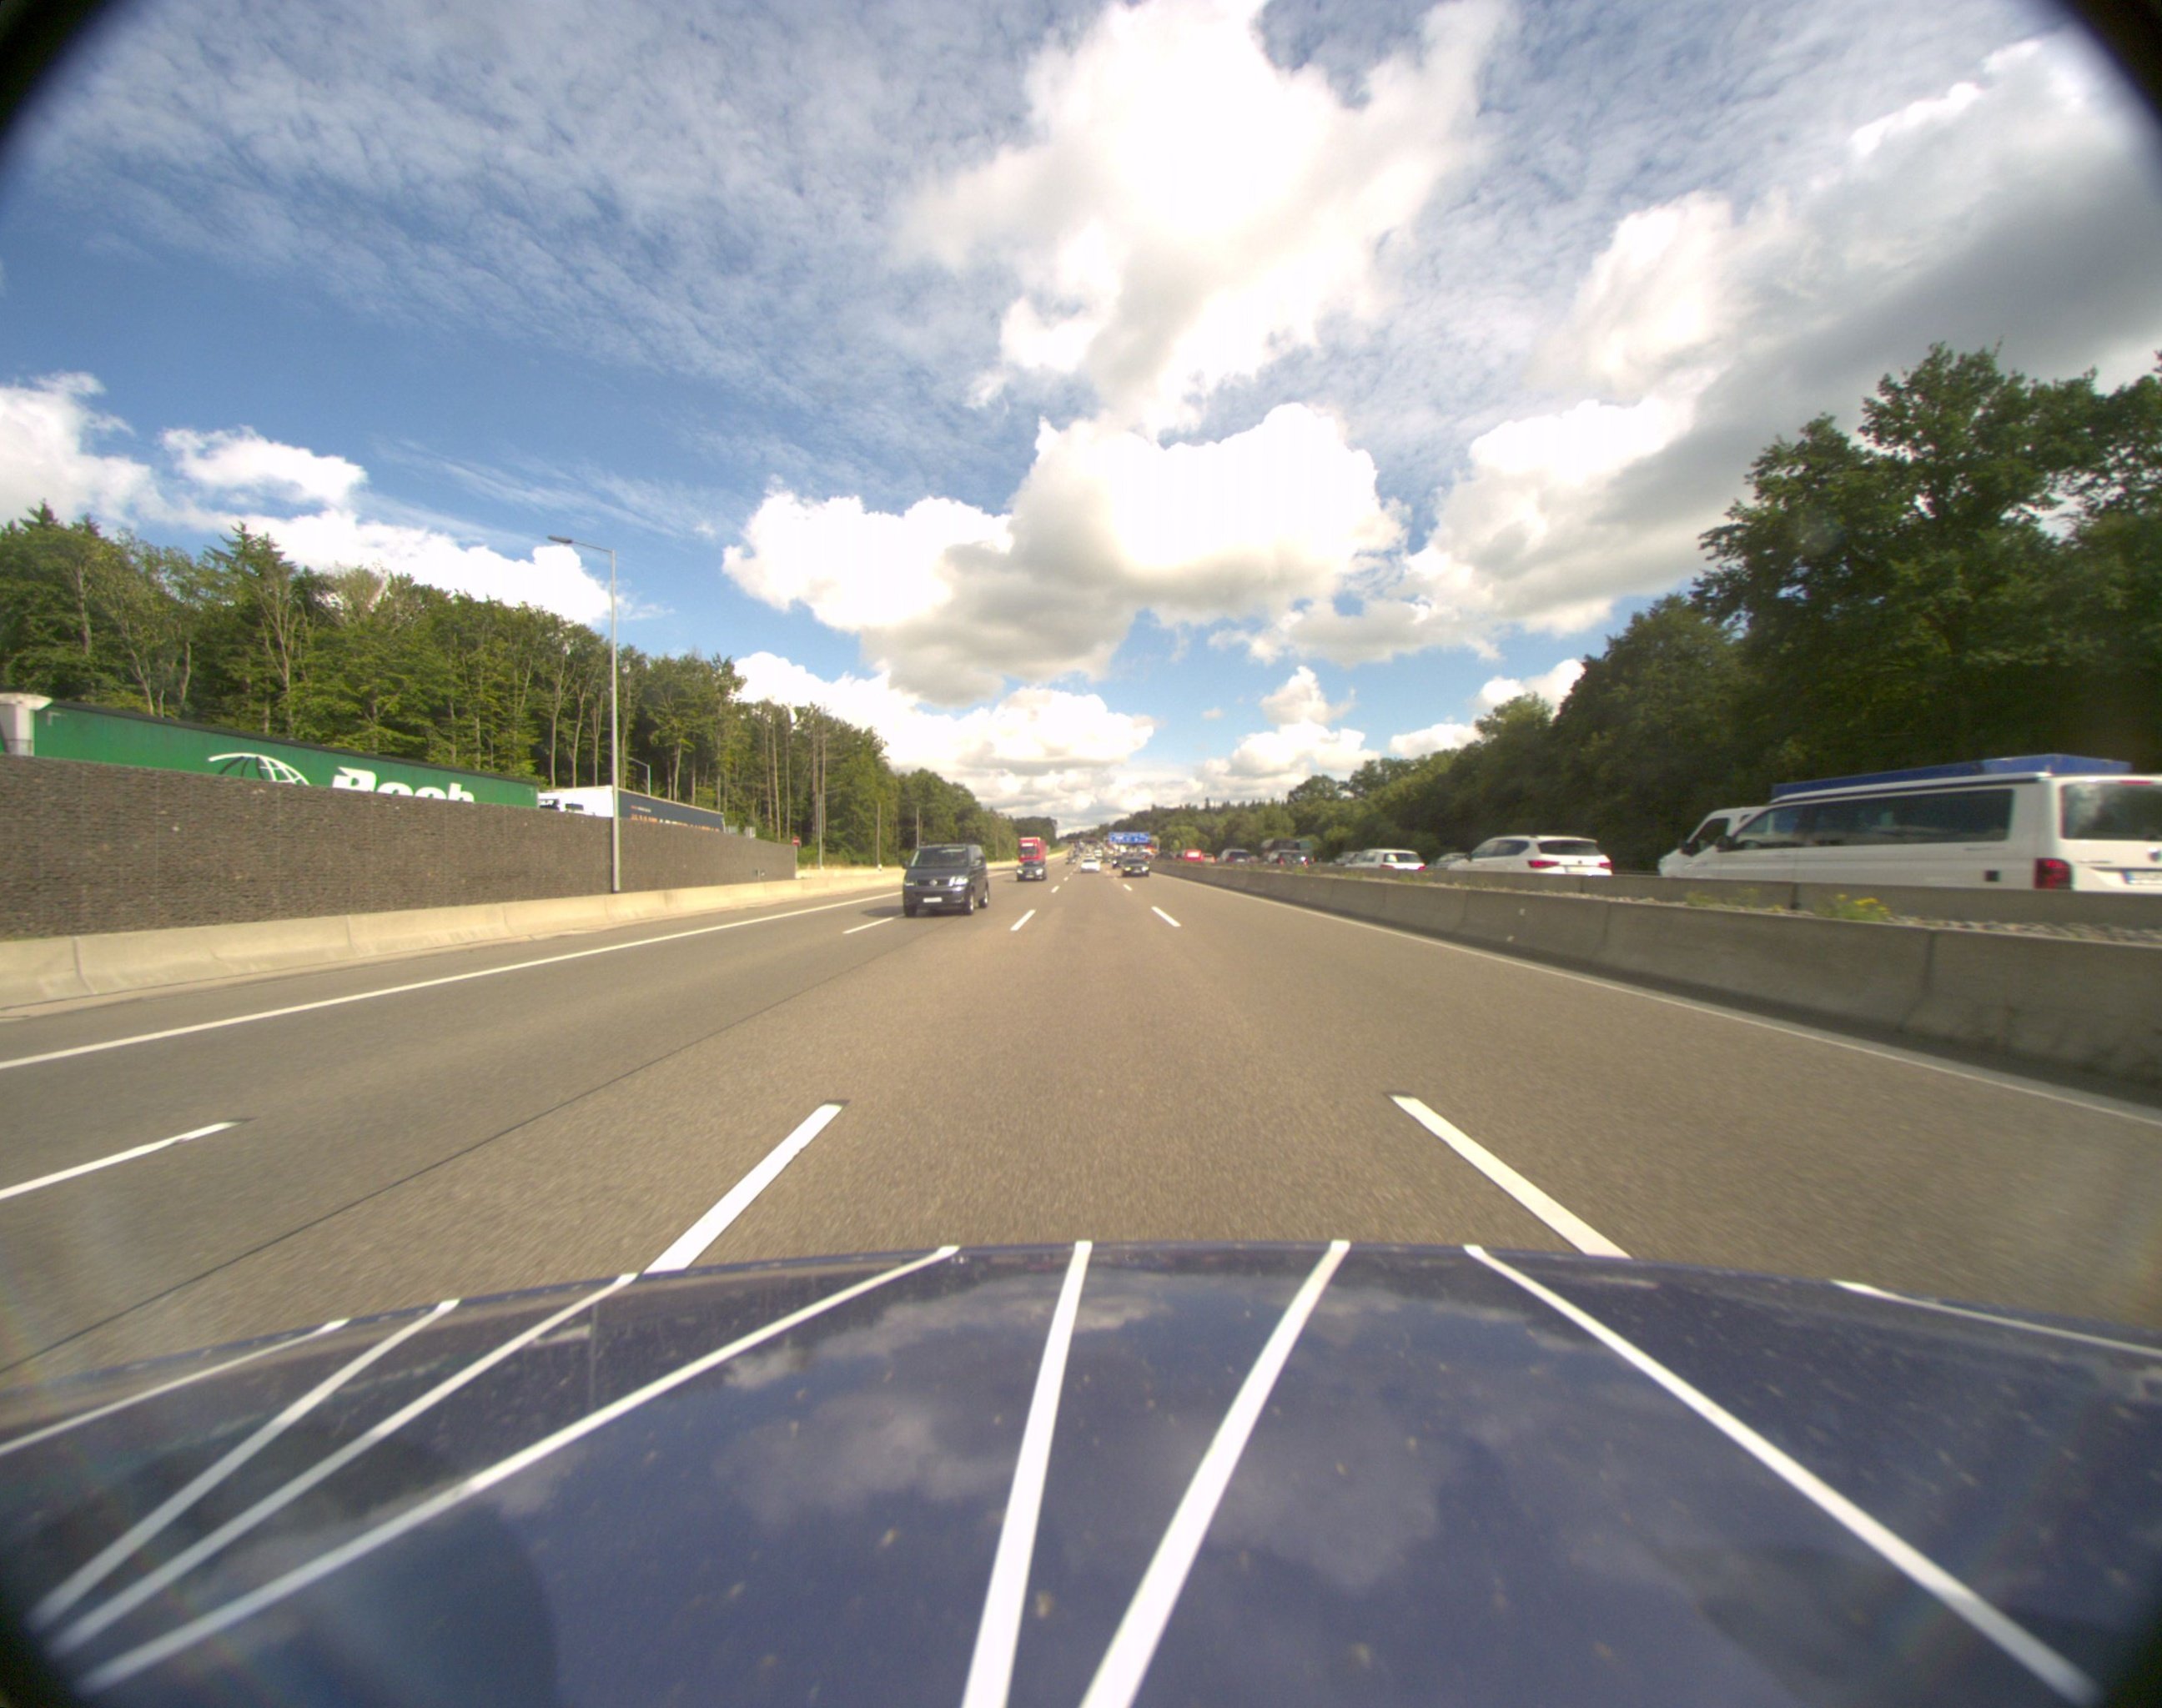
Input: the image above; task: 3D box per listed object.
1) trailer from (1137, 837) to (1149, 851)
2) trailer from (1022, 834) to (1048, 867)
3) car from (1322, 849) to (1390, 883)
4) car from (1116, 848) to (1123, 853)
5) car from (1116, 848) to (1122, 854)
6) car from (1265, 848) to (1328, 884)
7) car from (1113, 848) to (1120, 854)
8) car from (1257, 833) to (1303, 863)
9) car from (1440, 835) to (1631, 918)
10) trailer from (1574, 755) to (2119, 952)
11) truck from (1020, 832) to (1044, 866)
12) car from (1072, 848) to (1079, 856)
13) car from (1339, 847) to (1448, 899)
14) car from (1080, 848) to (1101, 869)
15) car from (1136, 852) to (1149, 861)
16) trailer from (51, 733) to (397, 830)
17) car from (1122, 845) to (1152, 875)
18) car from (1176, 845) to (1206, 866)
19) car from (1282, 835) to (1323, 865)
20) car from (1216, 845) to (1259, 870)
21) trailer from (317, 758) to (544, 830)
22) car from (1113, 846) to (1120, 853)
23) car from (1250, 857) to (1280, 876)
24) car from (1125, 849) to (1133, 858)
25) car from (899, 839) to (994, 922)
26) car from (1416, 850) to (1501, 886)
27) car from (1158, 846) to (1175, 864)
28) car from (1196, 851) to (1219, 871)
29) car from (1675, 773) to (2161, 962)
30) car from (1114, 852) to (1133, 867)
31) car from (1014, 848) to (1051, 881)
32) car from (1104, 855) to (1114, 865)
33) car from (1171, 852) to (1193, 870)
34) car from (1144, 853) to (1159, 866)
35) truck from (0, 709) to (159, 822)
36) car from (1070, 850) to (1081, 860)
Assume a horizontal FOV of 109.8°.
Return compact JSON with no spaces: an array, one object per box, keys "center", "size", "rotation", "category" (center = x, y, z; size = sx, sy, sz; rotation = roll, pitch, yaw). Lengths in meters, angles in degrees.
[{"center":[20.466,-3.363,251.609],"size":[2.778,4.211,13.654],"rotation":[-2,2,0],"category":"trailer"},{"center":[-6.196,-0.648,104.260],"size":[2.531,4.096,14.372],"rotation":[-2,2,0],"category":"trailer"},{"center":[14.007,0.562,38.973],"size":[1.998,1.563,4.357],"rotation":[-2,0,2],"category":"car"},{"center":[12.628,-1.070,249.661],"size":[1.761,1.369,4.000],"rotation":[-2,0,0],"category":"car"},{"center":[12.345,-0.850,247.049],"size":[1.691,1.806,4.294],"rotation":[-2,2,0],"category":"car"},{"center":[10.149,0.537,36.033],"size":[1.998,1.563,3.511],"rotation":[-2,0,2],"category":"car"},{"center":[12.167,-1.068,261.793],"size":[1.998,1.733,4.294],"rotation":[-3,1,0],"category":"car"},{"center":[14.481,-0.449,55.650],"size":[1.998,2.020,5.846],"rotation":[-2,0,2],"category":"car"},{"center":[9.991,0.434,17.165],"size":[1.770,1.563,4.357],"rotation":[-2,0,2],"category":"car"},{"center":[13.895,-0.051,15.298],"size":[2.284,2.770,8.540],"rotation":[-2,1,0],"category":"trailer"},{"center":[-6.215,-0.634,97.071],"size":[2.532,4.179,4.652],"rotation":[-2,2,0],"category":"truck"},{"center":[-1.415,-0.516,203.236],"size":[1.804,1.865,3.950],"rotation":[-1,1,1],"category":"car"},{"center":[10.595,0.600,26.123],"size":[1.998,1.563,4.357],"rotation":[-2,0,2],"category":"car"},{"center":[0.976,0.402,74.500],"size":[1.998,2.002,4.000],"rotation":[-1,0,2],"category":"car"},{"center":[10.492,0.407,130.289],"size":[1.998,1.563,4.815],"rotation":[-1,0,2],"category":"car"},{"center":[-20.983,-1.663,19.188],"size":[1.998,2.002,5.773],"rotation":[-2,2,1],"category":"trailer"},{"center":[3.997,0.428,54.545],"size":[1.919,2.002,4.000],"rotation":[-2,1,2],"category":"car"},{"center":[10.060,0.116,69.908],"size":[1.881,1.752,5.293],"rotation":[-2,0,-1],"category":"car"},{"center":[18.652,-0.319,64.151],"size":[1.998,2.360,5.329],"rotation":[-2,0,2],"category":"car"},{"center":[10.696,0.203,52.426],"size":[1.998,1.563,5.207],"rotation":[-2,0,2],"category":"car"},{"center":[-20.994,-1.848,25.071],"size":[1.998,2.002,6.190],"rotation":[-2,2,0],"category":"trailer"},{"center":[12.154,-1.537,260.431],"size":[1.998,2.002,4.408],"rotation":[-1,2,1],"category":"car"},{"center":[18.088,1.203,74.943],"size":[1.998,1.752,4.459],"rotation":[-2,0,2],"category":"car"},{"center":[11.709,-0.144,186.755],"size":[1.691,1.806,4.294],"rotation":[-2,2,0],"category":"car"},{"center":[-3.862,0.678,22.637],"size":[1.927,2.153,4.960],"rotation":[-1,1,0],"category":"car"},{"center":[18.101,0.632,36.687],"size":[1.998,1.563,4.357],"rotation":[-2,0,2],"category":"car"},{"center":[10.763,0.087,95.918],"size":[1.821,2.002,4.451],"rotation":[-2,2,2],"category":"car"},{"center":[14.586,0.771,88.084],"size":[1.998,2.002,4.457],"rotation":[2,2,2],"category":"car"},{"center":[9.983,0.040,8.854],"size":[1.998,1.563,5.329],"rotation":[-4,0,2],"category":"car"},{"center":[4.938,0.626,89.195],"size":[1.911,1.582,4.286],"rotation":[-2,2,1],"category":"car"},{"center":[-3.259,0.678,51.819],"size":[1.998,2.002,4.000],"rotation":[-3,1,2],"category":"car"},{"center":[5.474,1.148,147.637],"size":[1.804,1.783,3.757],"rotation":[-1,1,1],"category":"car"},{"center":[11.266,0.749,85.070],"size":[1.862,1.753,4.458],"rotation":[-2,1,2],"category":"car"},{"center":[10.977,0.890,119.332],"size":[1.998,1.894,4.458],"rotation":[-3,1,2],"category":"car"},{"center":[-21.091,-1.653,14.049],"size":[2.050,2.002,4.779],"rotation":[-2,2,2],"category":"truck"},{"center":[-1.000,0.208,146.309],"size":[1.911,1.582,4.285],"rotation":[-2,2,-2],"category":"car"}]
